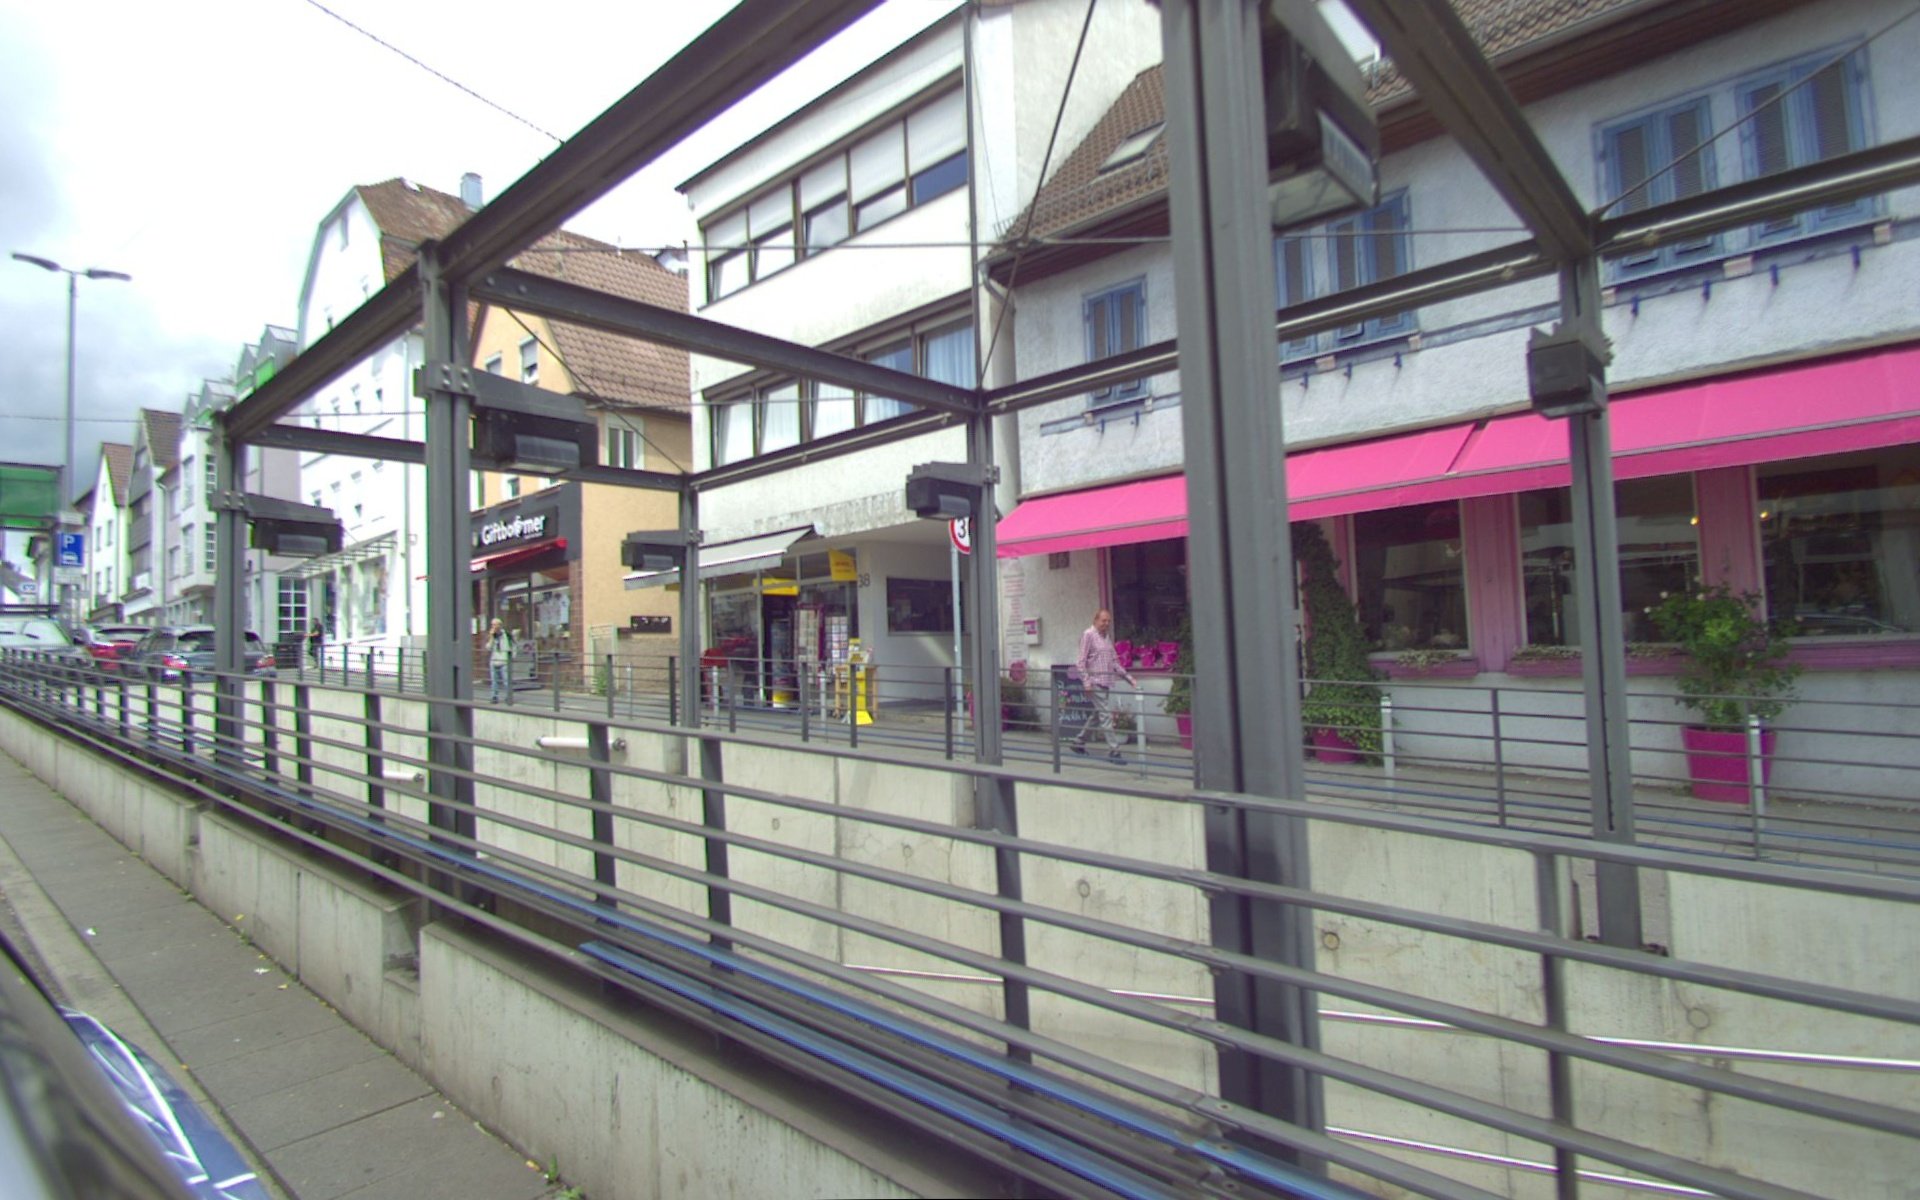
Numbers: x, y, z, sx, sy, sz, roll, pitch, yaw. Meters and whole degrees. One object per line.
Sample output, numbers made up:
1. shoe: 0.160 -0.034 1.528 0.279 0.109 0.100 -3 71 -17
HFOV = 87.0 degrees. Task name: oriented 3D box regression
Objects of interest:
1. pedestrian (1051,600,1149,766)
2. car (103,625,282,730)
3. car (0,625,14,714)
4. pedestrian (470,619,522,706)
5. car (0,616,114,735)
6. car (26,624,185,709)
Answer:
1. pedestrian: 1.552 0.894 11.239 0.825 1.753 0.686 -2 -3 43
2. car: -13.157 1.241 17.268 3.896 1.559 1.681 -2 -1 41
3. car: -19.200 1.310 19.146 3.531 1.622 1.556 -2 -1 41
4. pedestrian: -9.375 1.249 20.447 0.663 1.727 0.739 -2 -3 41
5. car: -14.467 1.071 15.161 4.427 1.578 1.974 -2 -1 39
6. car: -18.492 1.368 21.828 4.492 1.601 1.973 -2 -1 41
